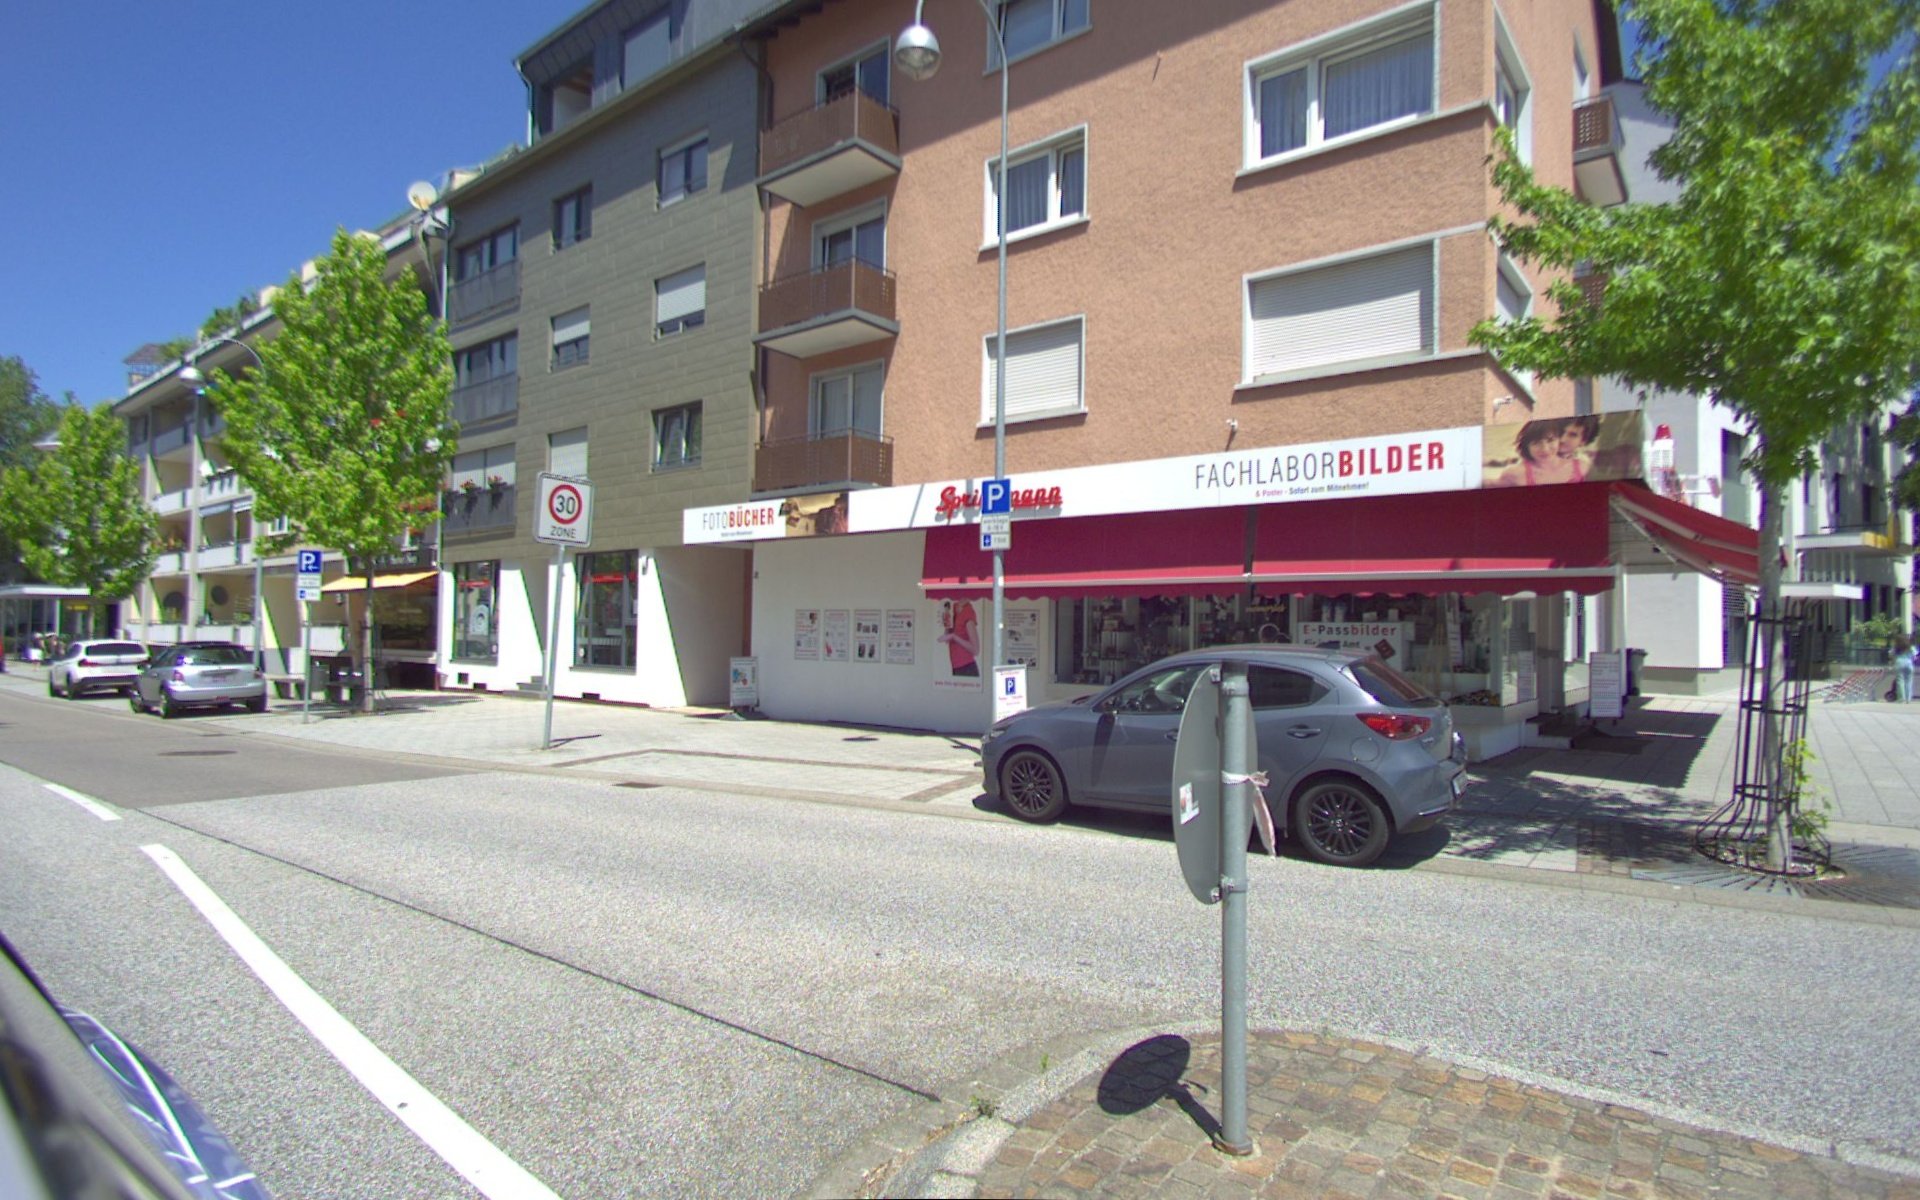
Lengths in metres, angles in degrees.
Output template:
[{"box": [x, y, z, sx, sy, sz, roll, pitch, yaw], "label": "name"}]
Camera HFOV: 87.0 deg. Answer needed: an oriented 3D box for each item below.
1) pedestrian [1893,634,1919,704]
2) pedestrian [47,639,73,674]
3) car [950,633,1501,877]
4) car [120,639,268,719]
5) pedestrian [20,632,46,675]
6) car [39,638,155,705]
[{"box": [22.221, 1.605, 23.689, 0.449, 1.631, 0.445, -2, -3, 37], "label": "pedestrian"}, {"box": [-39.362, 2.452, 44.279, 0.767, 1.510, 0.698, 3, -4, -39], "label": "pedestrian"}, {"box": [2.042, 1.061, 8.326, 4.052, 1.497, 1.652, -2, -1, 36], "label": "car"}, {"box": [-15.623, 1.542, 20.599, 3.545, 1.485, 1.605, -2, -3, 40], "label": "car"}, {"box": [-39.659, 2.269, 43.299, 0.657, 1.818, 0.687, 2, -4, -36], "label": "pedestrian"}, {"box": [-23.517, 1.896, 27.521, 4.295, 1.604, 1.678, -2, 0, 40], "label": "car"}]
